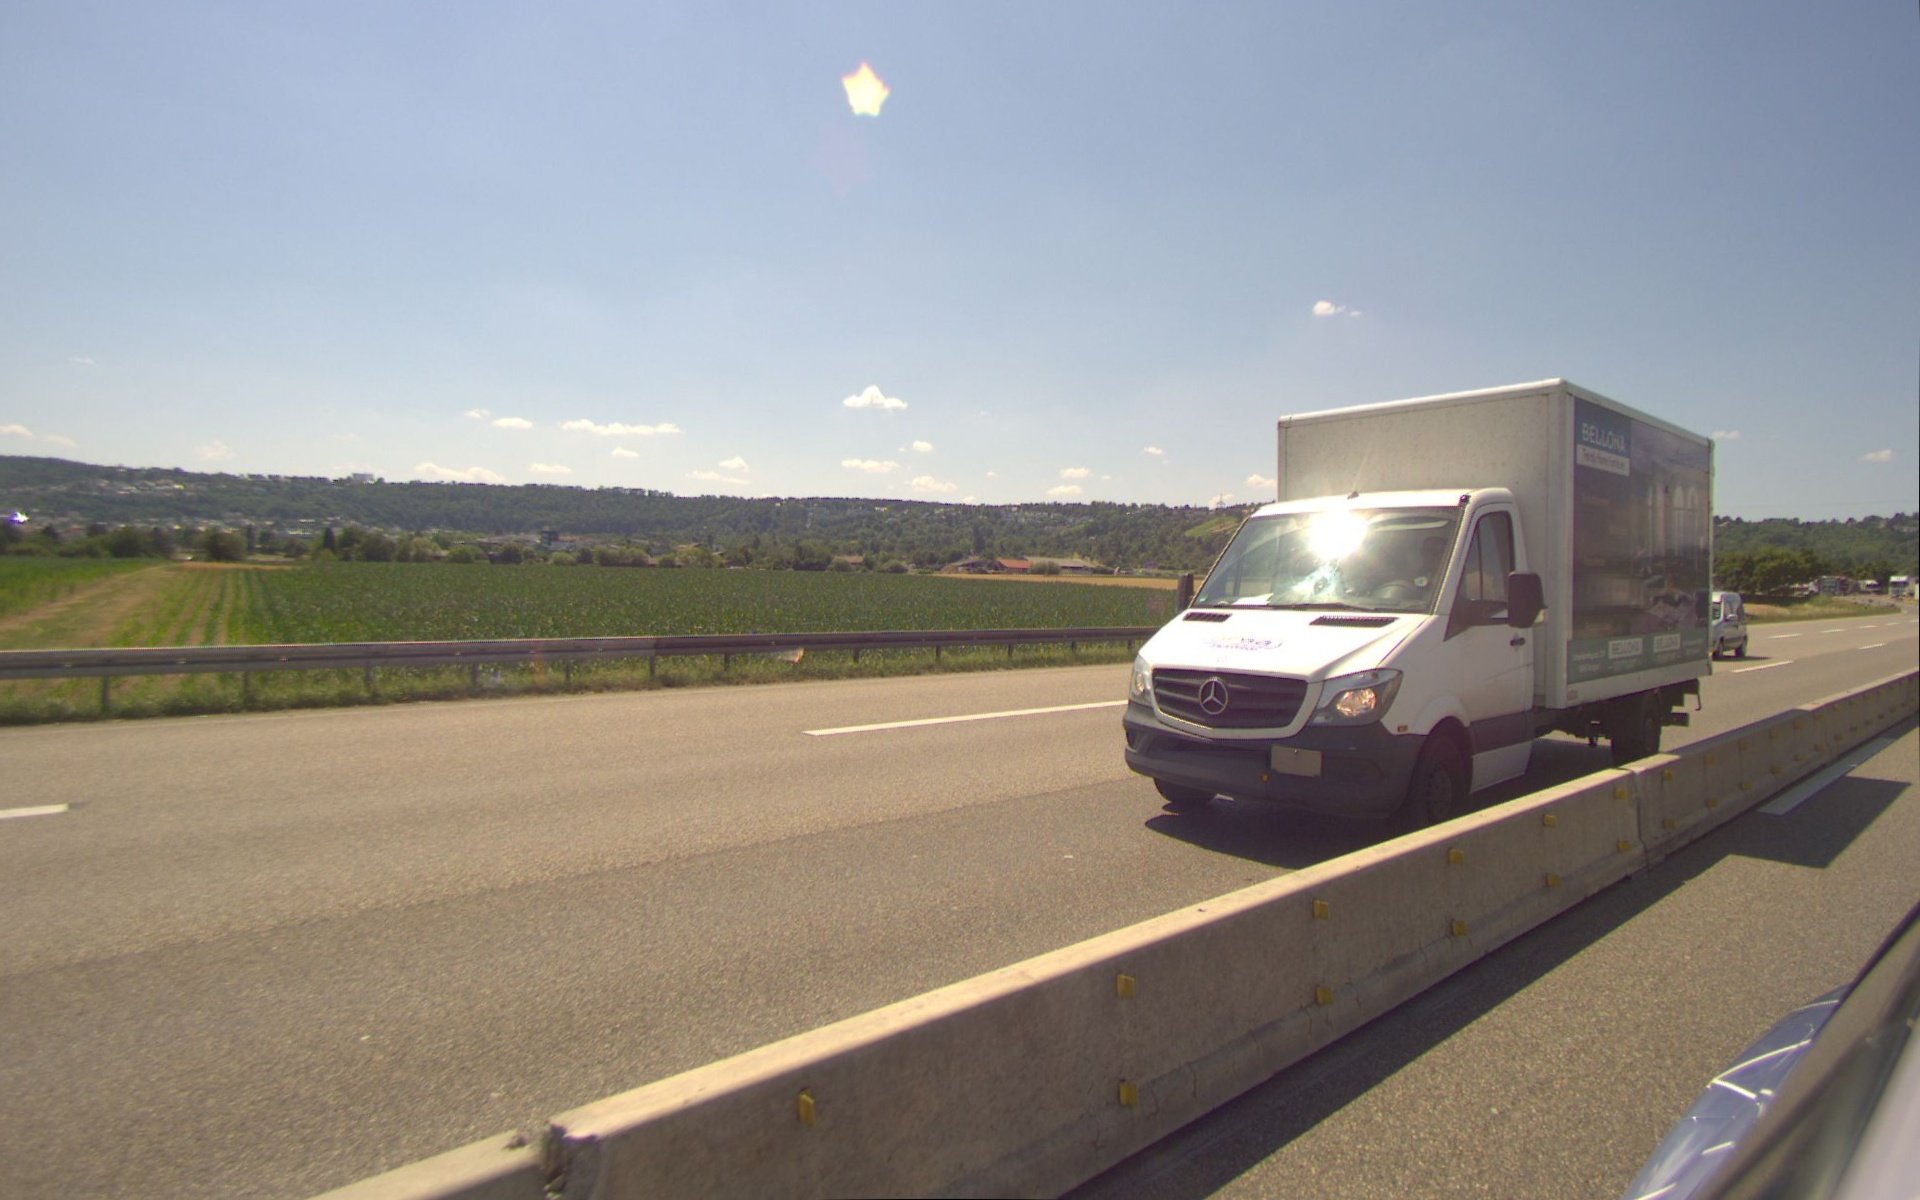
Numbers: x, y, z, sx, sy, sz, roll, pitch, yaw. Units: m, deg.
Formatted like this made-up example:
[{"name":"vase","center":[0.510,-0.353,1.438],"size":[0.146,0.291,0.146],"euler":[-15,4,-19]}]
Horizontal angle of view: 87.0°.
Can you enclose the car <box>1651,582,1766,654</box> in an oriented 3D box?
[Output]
[{"name":"car","center":[19.925,0.455,26.894],"size":[3.902,1.759,1.630],"euler":[1,0,-40]}]

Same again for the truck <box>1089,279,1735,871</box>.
[{"name":"truck","center":[4.161,-0.118,8.377],"size":[6.632,3.106,2.325],"euler":[1,0,-41]}]
